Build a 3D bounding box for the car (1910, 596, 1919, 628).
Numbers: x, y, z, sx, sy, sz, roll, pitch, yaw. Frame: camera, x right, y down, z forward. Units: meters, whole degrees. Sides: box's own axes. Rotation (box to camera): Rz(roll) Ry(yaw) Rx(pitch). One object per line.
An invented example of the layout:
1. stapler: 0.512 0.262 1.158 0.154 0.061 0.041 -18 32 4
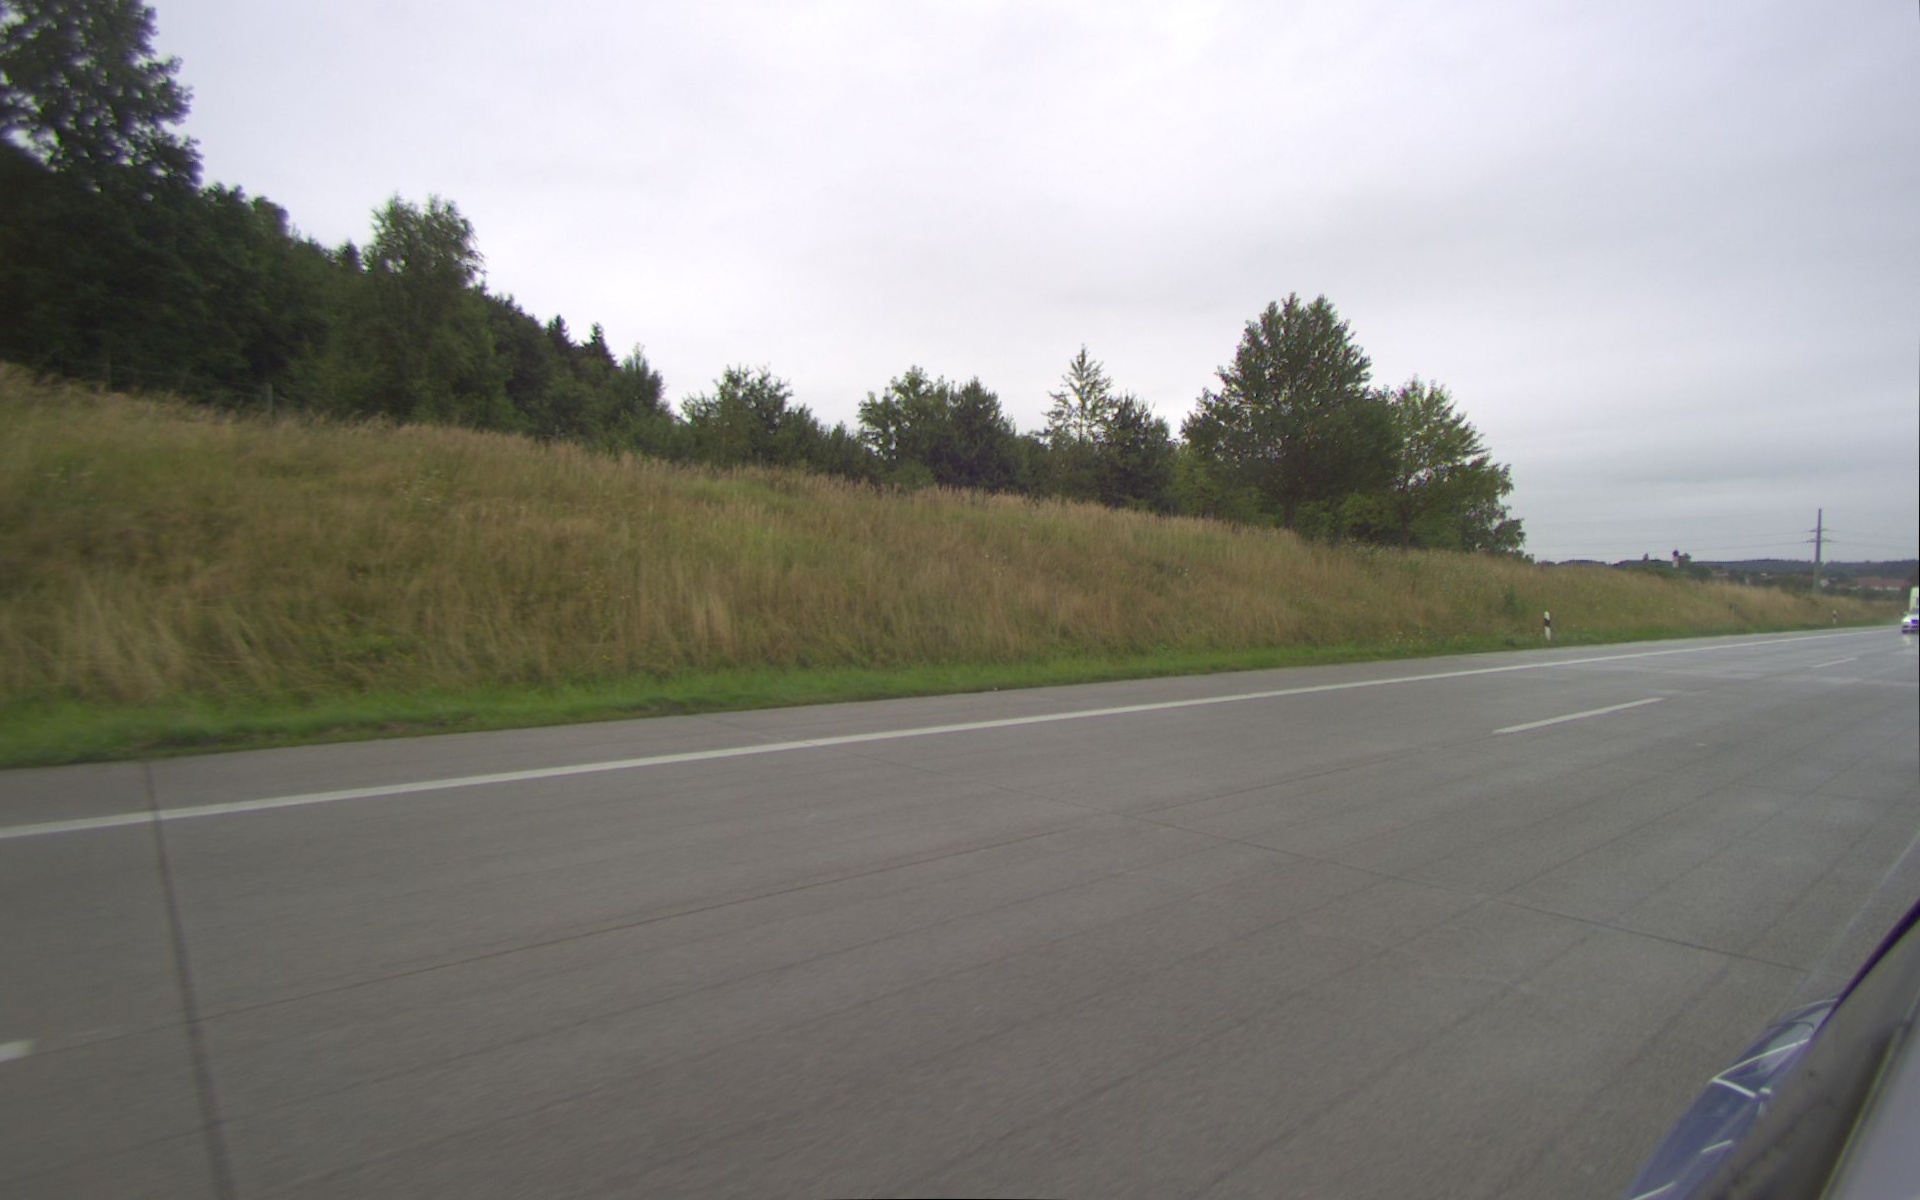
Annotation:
1. car: 50.149 0.580 51.501 5.848 1.605 1.997 -1 0 -41
